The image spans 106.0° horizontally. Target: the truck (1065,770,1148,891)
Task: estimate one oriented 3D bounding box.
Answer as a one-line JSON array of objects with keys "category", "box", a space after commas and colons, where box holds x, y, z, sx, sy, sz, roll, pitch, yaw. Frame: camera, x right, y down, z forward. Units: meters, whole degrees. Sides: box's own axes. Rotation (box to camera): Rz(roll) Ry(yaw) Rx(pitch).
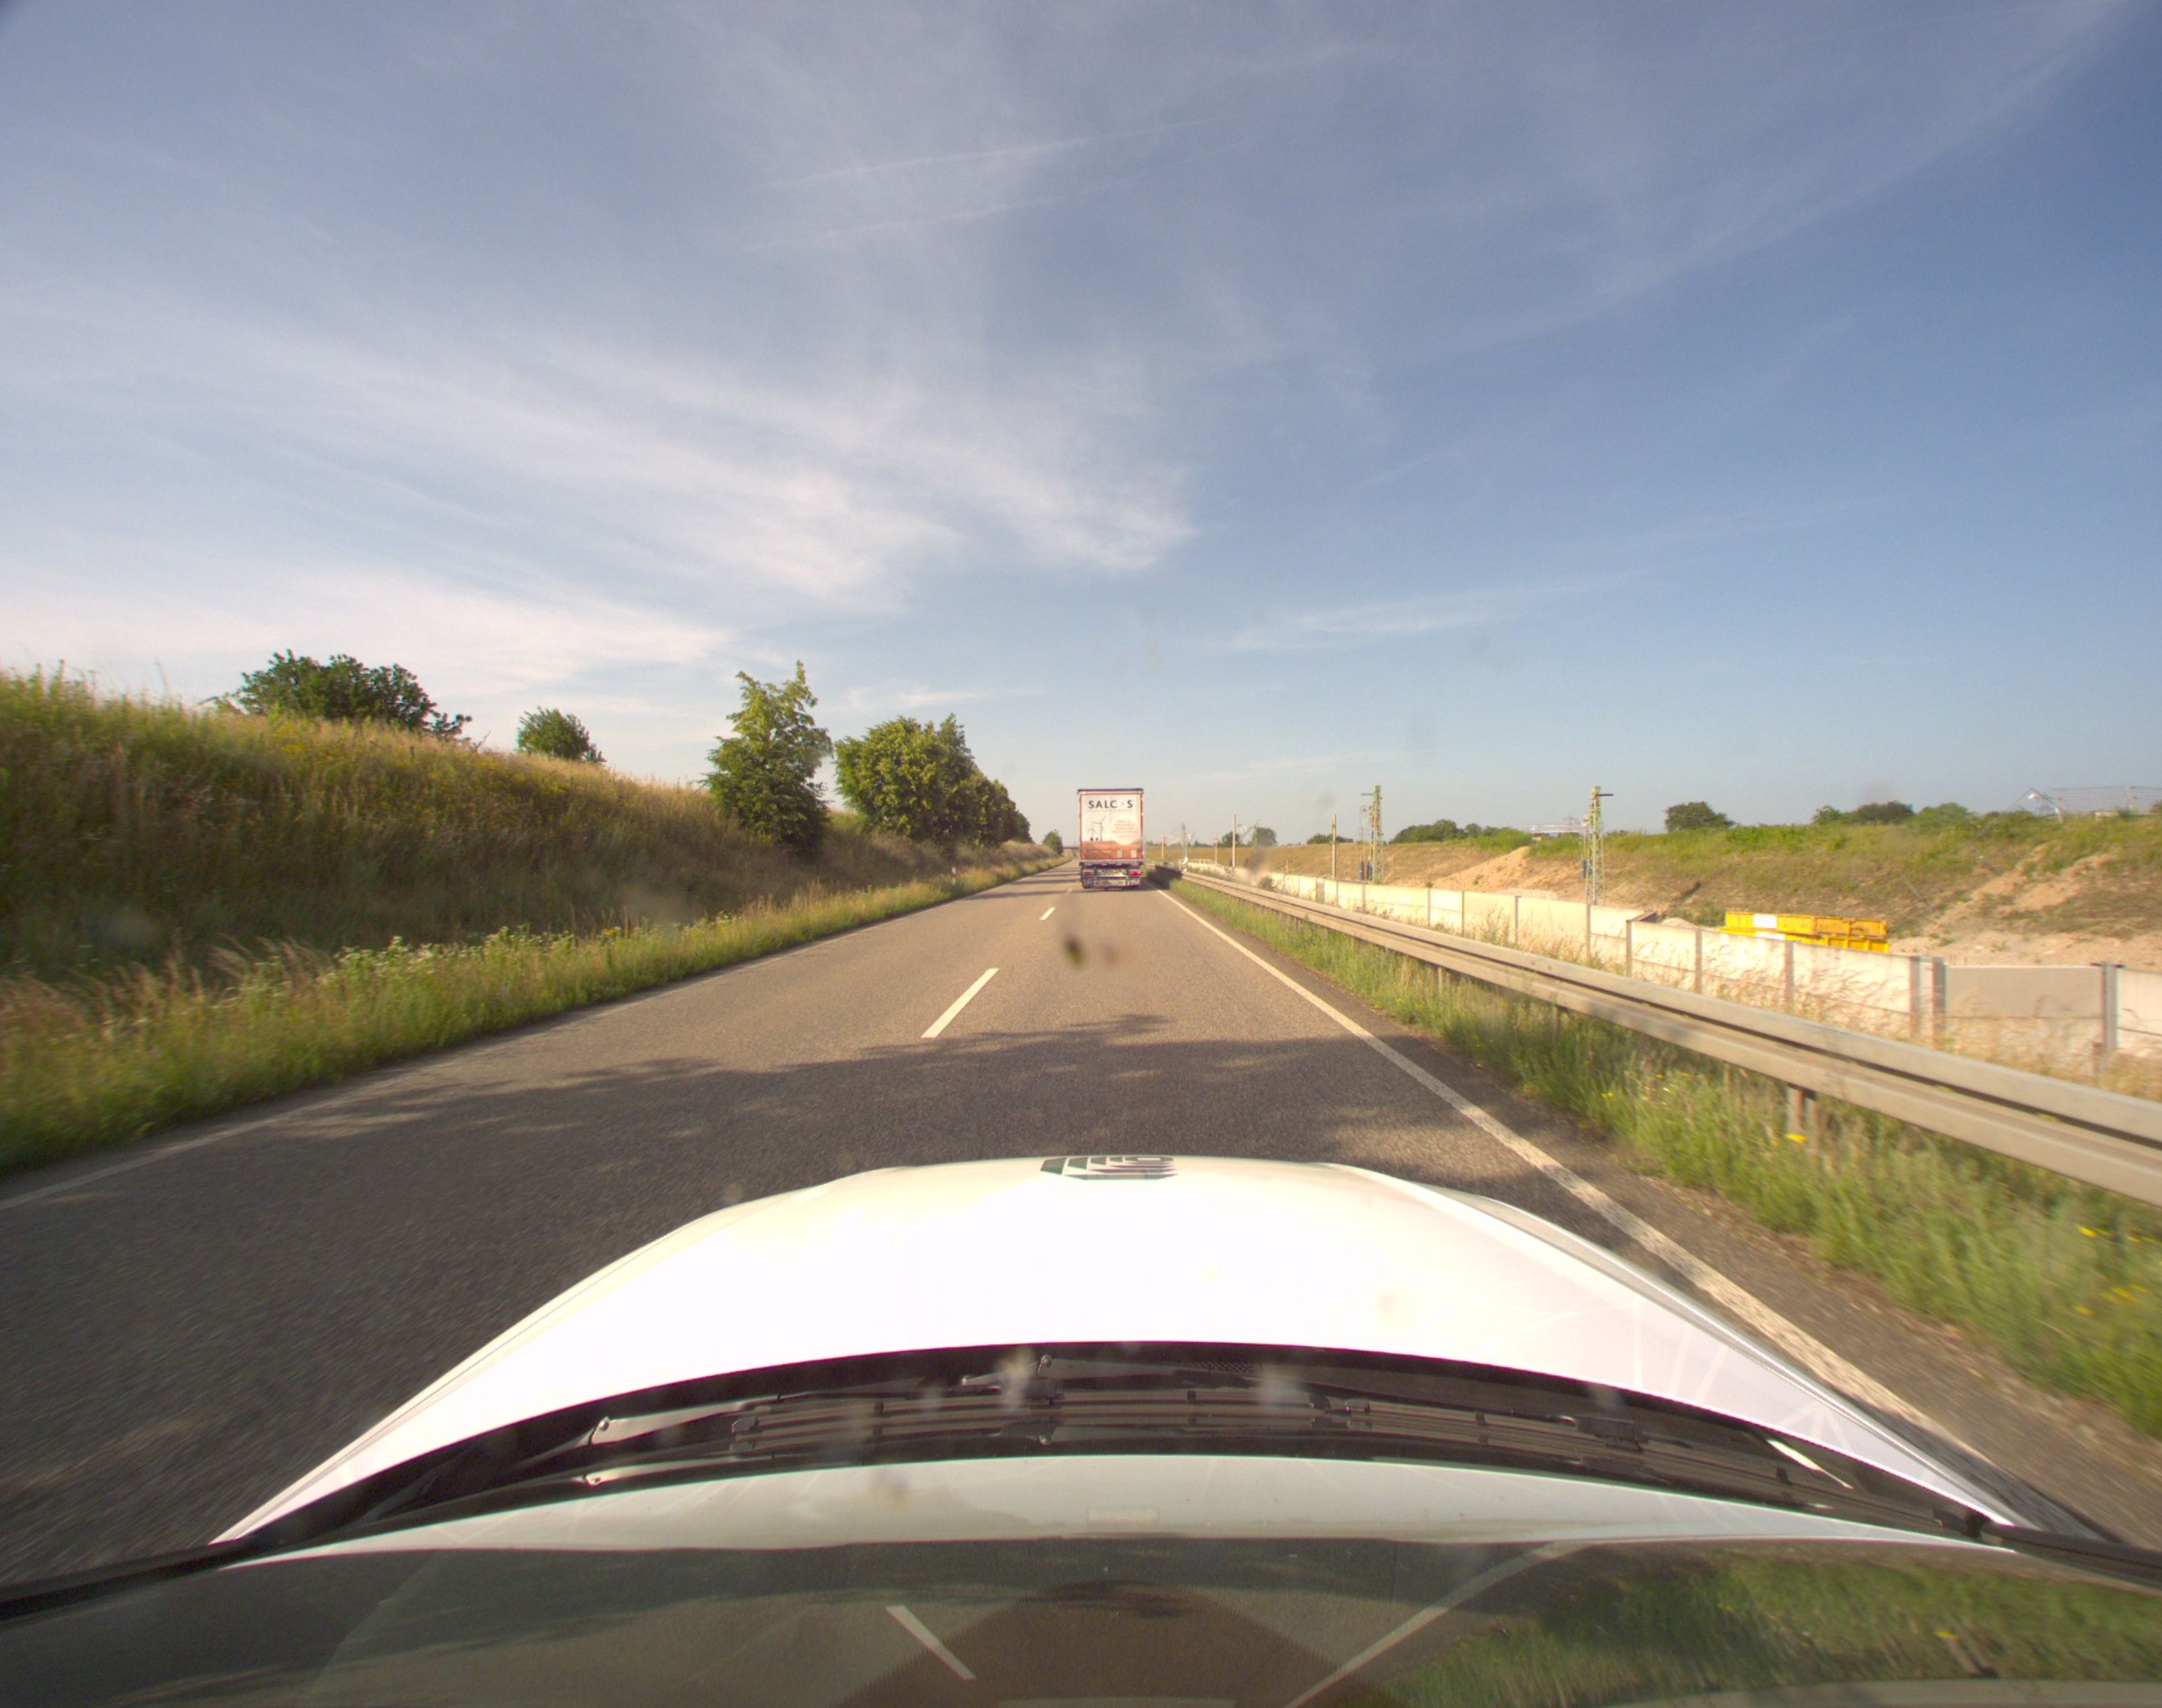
[{"category": "truck", "box": [1.209, -0.934, 36.004, 3.140, 4.688, 8.448, -1, 0, 3]}]
